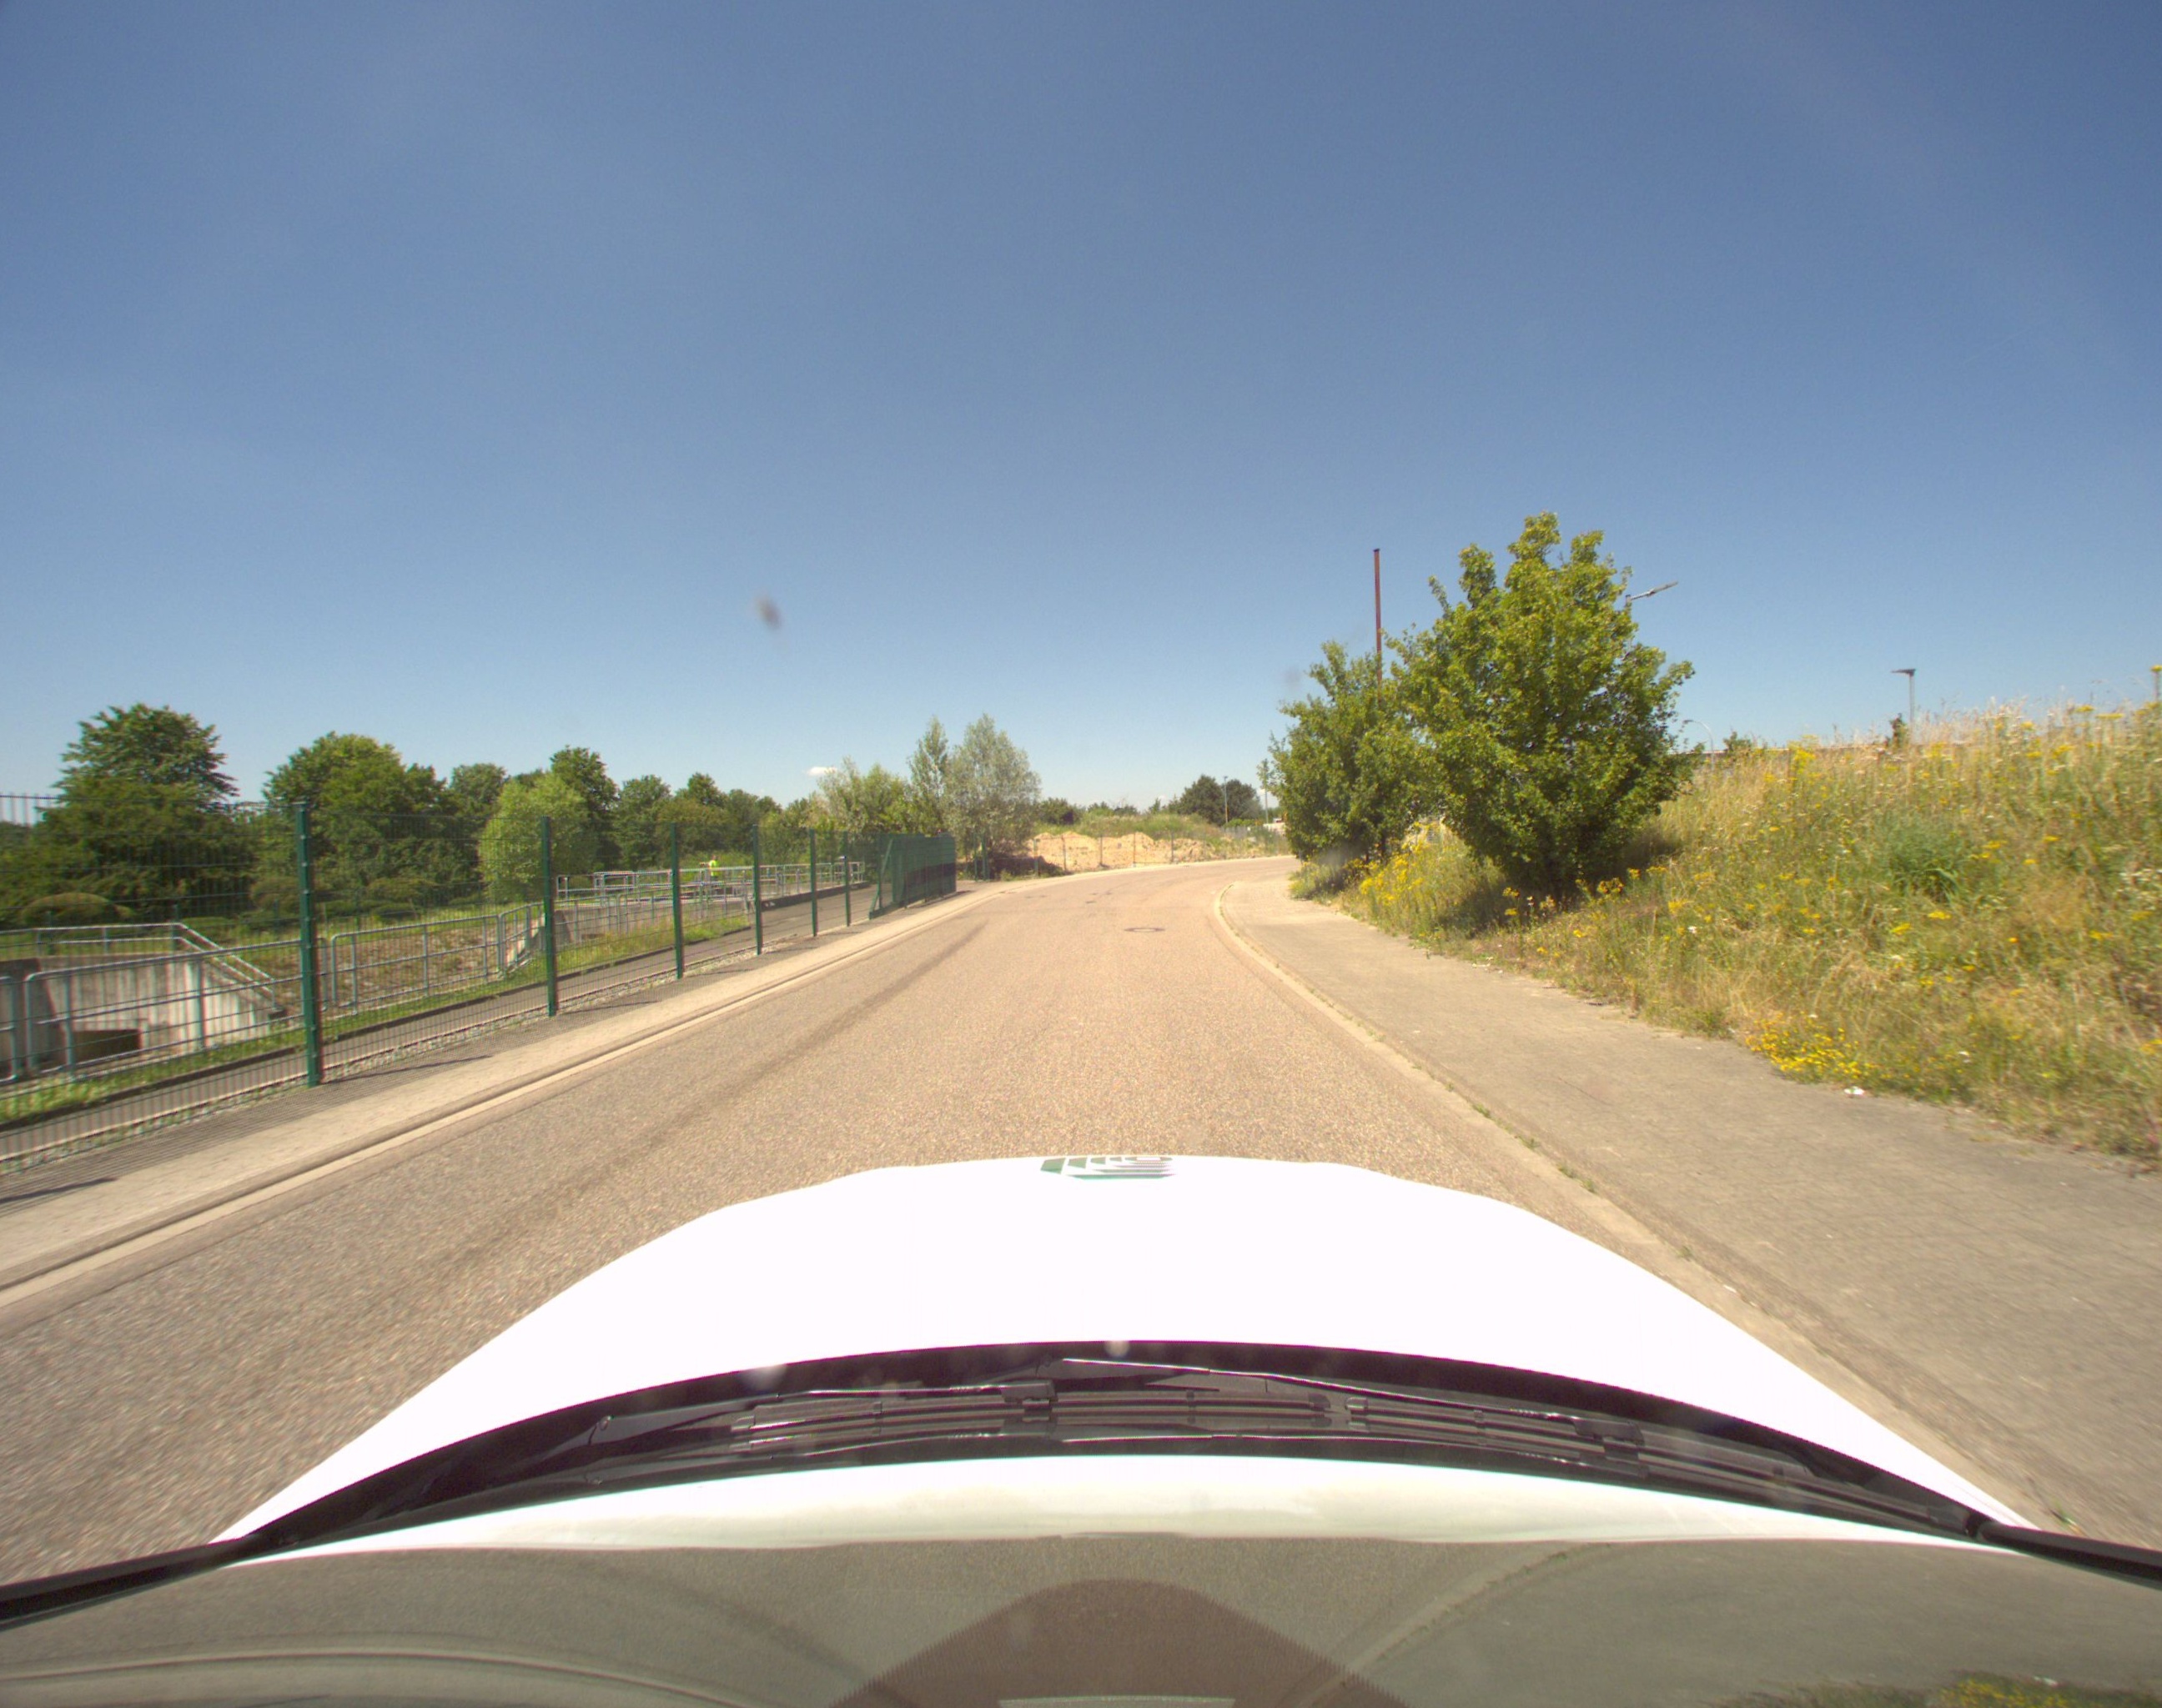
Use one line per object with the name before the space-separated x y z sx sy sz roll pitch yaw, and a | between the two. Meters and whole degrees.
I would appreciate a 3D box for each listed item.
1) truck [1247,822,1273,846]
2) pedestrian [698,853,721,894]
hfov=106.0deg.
truck | 23.220 -2.576 105.897 1.989 2.984 4.640 -3 0 -3
pedestrian | -17.078 0.878 37.446 0.603 1.839 0.805 -3 -1 1
